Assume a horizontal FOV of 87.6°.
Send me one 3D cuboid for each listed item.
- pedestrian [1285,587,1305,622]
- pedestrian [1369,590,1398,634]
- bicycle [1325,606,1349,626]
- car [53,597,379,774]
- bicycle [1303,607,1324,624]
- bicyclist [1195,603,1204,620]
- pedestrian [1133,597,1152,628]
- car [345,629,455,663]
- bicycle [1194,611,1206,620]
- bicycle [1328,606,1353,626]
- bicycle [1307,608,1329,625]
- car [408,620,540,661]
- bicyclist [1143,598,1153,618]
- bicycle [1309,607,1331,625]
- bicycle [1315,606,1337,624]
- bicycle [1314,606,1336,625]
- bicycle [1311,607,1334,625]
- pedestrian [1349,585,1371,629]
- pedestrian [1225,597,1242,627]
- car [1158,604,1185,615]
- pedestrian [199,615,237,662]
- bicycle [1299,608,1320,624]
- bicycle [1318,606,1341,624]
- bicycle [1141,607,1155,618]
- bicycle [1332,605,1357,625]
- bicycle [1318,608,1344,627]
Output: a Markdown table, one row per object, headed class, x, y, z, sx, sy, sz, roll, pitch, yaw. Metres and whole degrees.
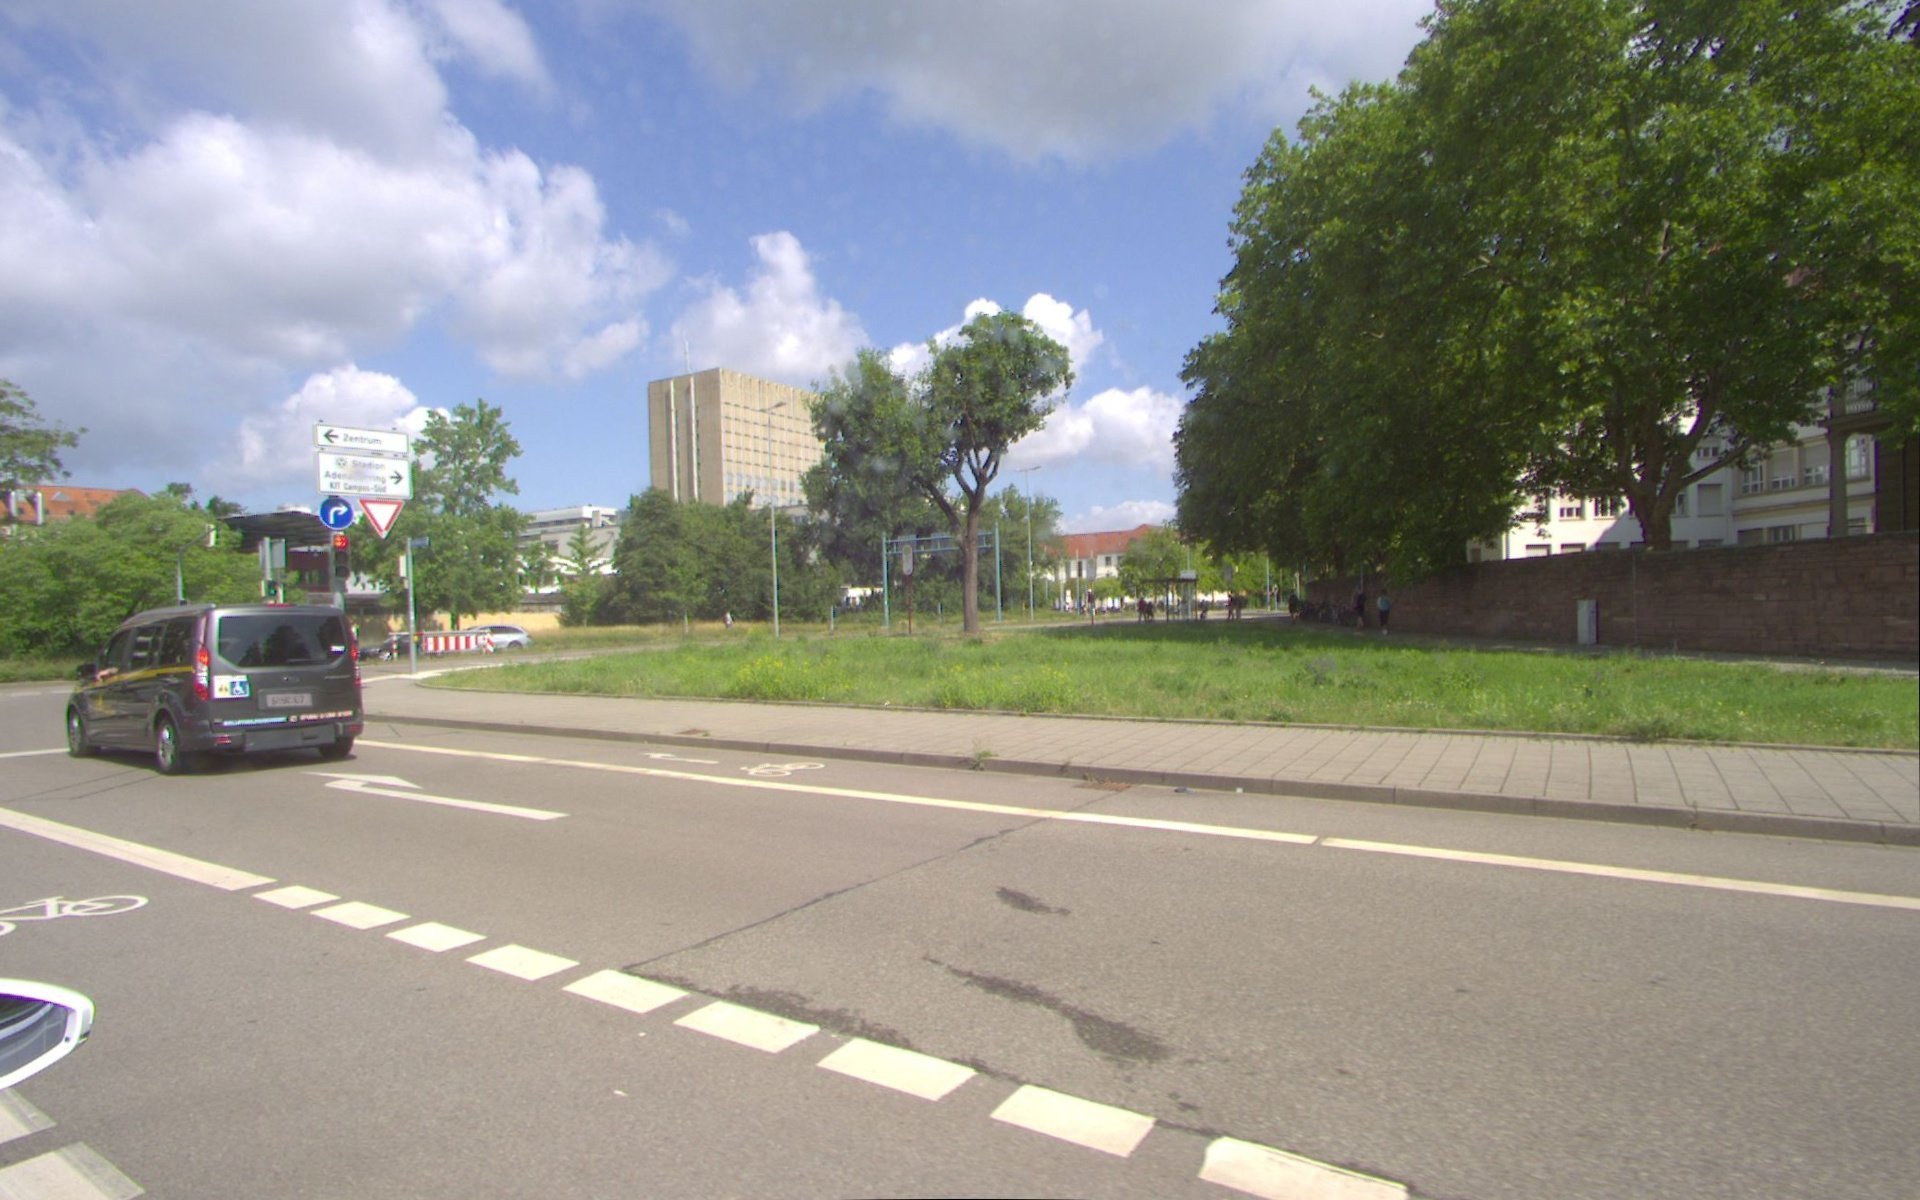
| class | x | y | z | sx | sy | sz | roll | pitch | yaw |
| --- | --- | --- | --- | --- | --- | --- | --- | --- | --- |
| pedestrian | 17.837 | 0.237 | 53.398 | 0.870 | 1.804 | 0.770 | -1 | 1 | 9 |
| pedestrian | 15.395 | 0.438 | 36.397 | 0.712 | 1.554 | 0.724 | -2 | 0 | 3 |
| bicycle | 17.085 | 0.723 | 45.359 | 0.955 | 0.860 | 0.482 | -1 | 1 | 11 |
| car | -9.202 | 0.935 | 12.261 | 4.609 | 1.808 | 1.844 | -2 | -1 | 35 |
| bicycle | 18.476 | 0.813 | 52.334 | 0.955 | 0.860 | 0.482 | -1 | 1 | 11 |
| bicyclist | 19.730 | 0.934 | 82.364 | 0.552 | 1.433 | 0.604 | -1 | 1 | 28 |
| pedestrian | 10.746 | 0.736 | 58.958 | 0.738 | 1.803 | 0.961 | -2 | 0 | 29 |
| car | -26.741 | 2.164 | 47.911 | 1.973 | 1.395 | 4.135 | -1 | 0 | 34 |
| bicycle | 19.759 | 1.289 | 82.399 | 0.541 | 0.707 | 1.584 | -1 | 0 | 28 |
| bicycle | 16.975 | 0.721 | 44.731 | 0.955 | 0.860 | 0.482 | -1 | 1 | 11 |
| bicycle | 18.221 | 0.830 | 50.999 | 0.955 | 0.860 | 0.482 | -1 | 1 | 11 |
| car | -21.131 | 1.748 | 43.686 | 2.037 | 1.460 | 4.746 | -5 | -2 | 37 |
| bicyclist | 13.646 | 0.562 | 72.563 | 0.552 | 1.433 | 0.604 | -1 | 1 | 28 |
| bicycle | 18.134 | 0.809 | 50.450 | 0.955 | 0.860 | 0.482 | -1 | 1 | 11 |
| bicycle | 17.752 | 0.736 | 48.594 | 0.955 | 0.860 | 0.482 | -1 | 1 | 11 |
| bicycle | 17.913 | 0.757 | 49.138 | 0.955 | 0.860 | 0.482 | -1 | 1 | 11 |
| bicycle | 18.028 | 0.783 | 49.807 | 0.955 | 0.860 | 0.482 | -1 | 1 | 11 |
| pedestrian | 16.203 | 0.291 | 40.547 | 0.651 | 1.746 | 0.742 | -1 | 1 | 9 |
| pedestrian | 17.060 | 0.729 | 62.460 | 0.739 | 1.803 | 0.766 | -2 | 0 | 33 |
| car | 25.805 | 1.169 | 122.366 | 1.774 | 1.290 | 3.973 | 0 | 0 | 36 |
| pedestrian | -31.408 | 1.628 | 42.389 | 1.161 | 1.881 | 0.697 | -3 | 0 | 22 |
| bicycle | 18.801 | 0.870 | 53.861 | 0.955 | 0.860 | 0.482 | -1 | 1 | 11 |
| bicycle | 17.657 | 0.709 | 47.861 | 0.955 | 0.860 | 0.482 | -1 | 1 | 11 |
| bicycle | 13.650 | 0.918 | 72.574 | 0.541 | 0.707 | 1.584 | -1 | 0 | 27 |
| bicycle | 16.919 | 0.673 | 44.048 | 0.955 | 0.860 | 0.482 | -1 | 1 | 11 |
| bicycle | 17.423 | 0.801 | 47.066 | 1.054 | 0.860 | 0.499 | -2 | 0 | 11 |
